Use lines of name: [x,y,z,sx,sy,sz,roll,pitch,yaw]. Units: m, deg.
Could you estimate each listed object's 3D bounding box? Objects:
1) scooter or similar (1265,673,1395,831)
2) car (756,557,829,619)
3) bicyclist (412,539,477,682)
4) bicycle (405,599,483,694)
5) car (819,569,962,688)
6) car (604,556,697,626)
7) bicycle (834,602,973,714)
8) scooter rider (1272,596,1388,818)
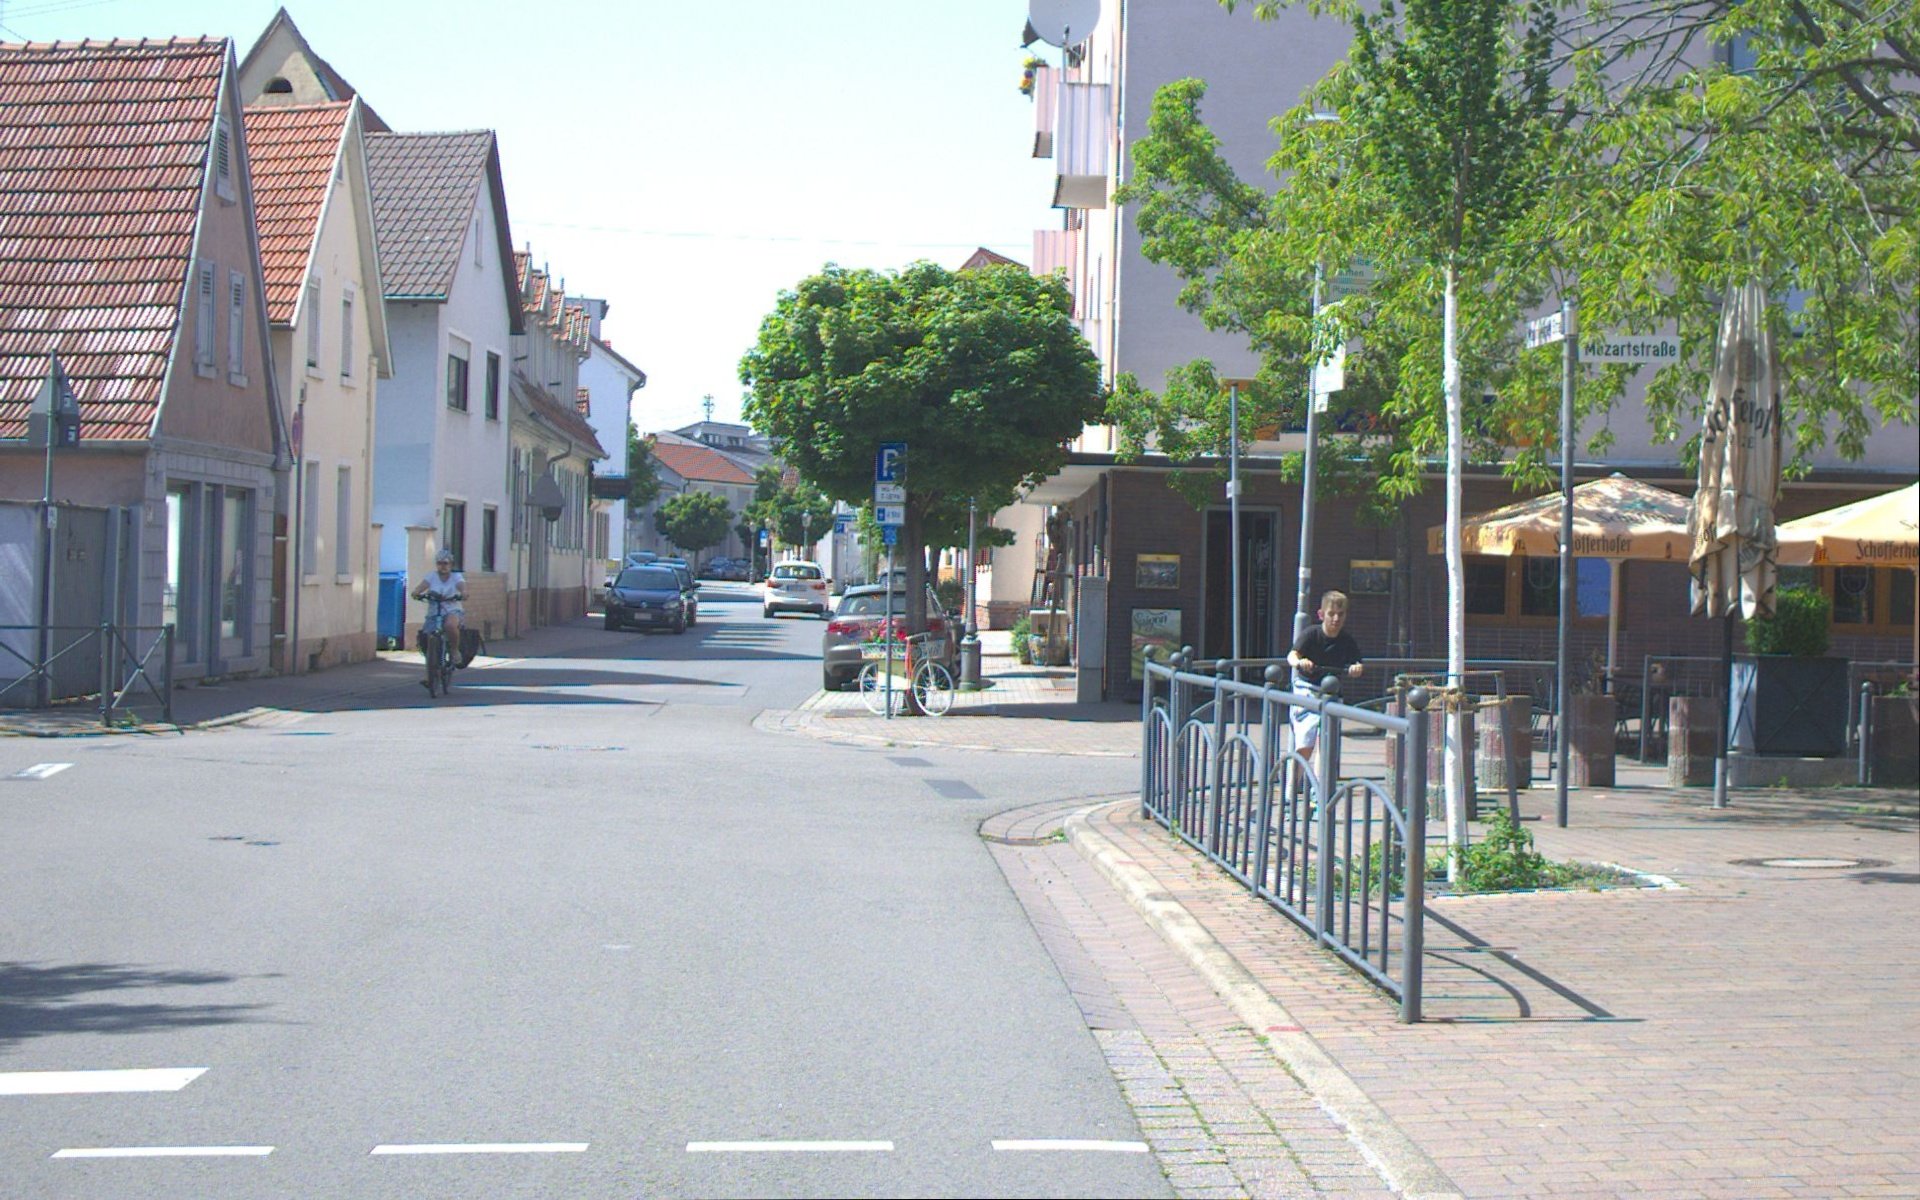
scooter or similar: [2.158,0.881,20.115,0.378,0.870,0.890,1,0,-20]
car: [-4.679,-0.350,96.584,1.834,1.646,4.000,1,0,0]
bicyclist: [-6.135,0.122,40.946,0.669,1.685,0.761,0,0,-1]
bicycle: [-6.135,0.538,40.956,0.674,1.090,1.896,0,0,-1]
car: [-0.916,0.354,47.399,1.805,1.496,4.000,1,1,1]
car: [-7.018,-0.213,78.205,1.714,1.512,3.786,1,0,0]
bicycle: [-0.646,0.644,38.627,0.525,1.189,1.674,1,0,-44]
scooter rider: [2.167,0.623,20.141,0.516,1.281,0.418,1,0,-21]
